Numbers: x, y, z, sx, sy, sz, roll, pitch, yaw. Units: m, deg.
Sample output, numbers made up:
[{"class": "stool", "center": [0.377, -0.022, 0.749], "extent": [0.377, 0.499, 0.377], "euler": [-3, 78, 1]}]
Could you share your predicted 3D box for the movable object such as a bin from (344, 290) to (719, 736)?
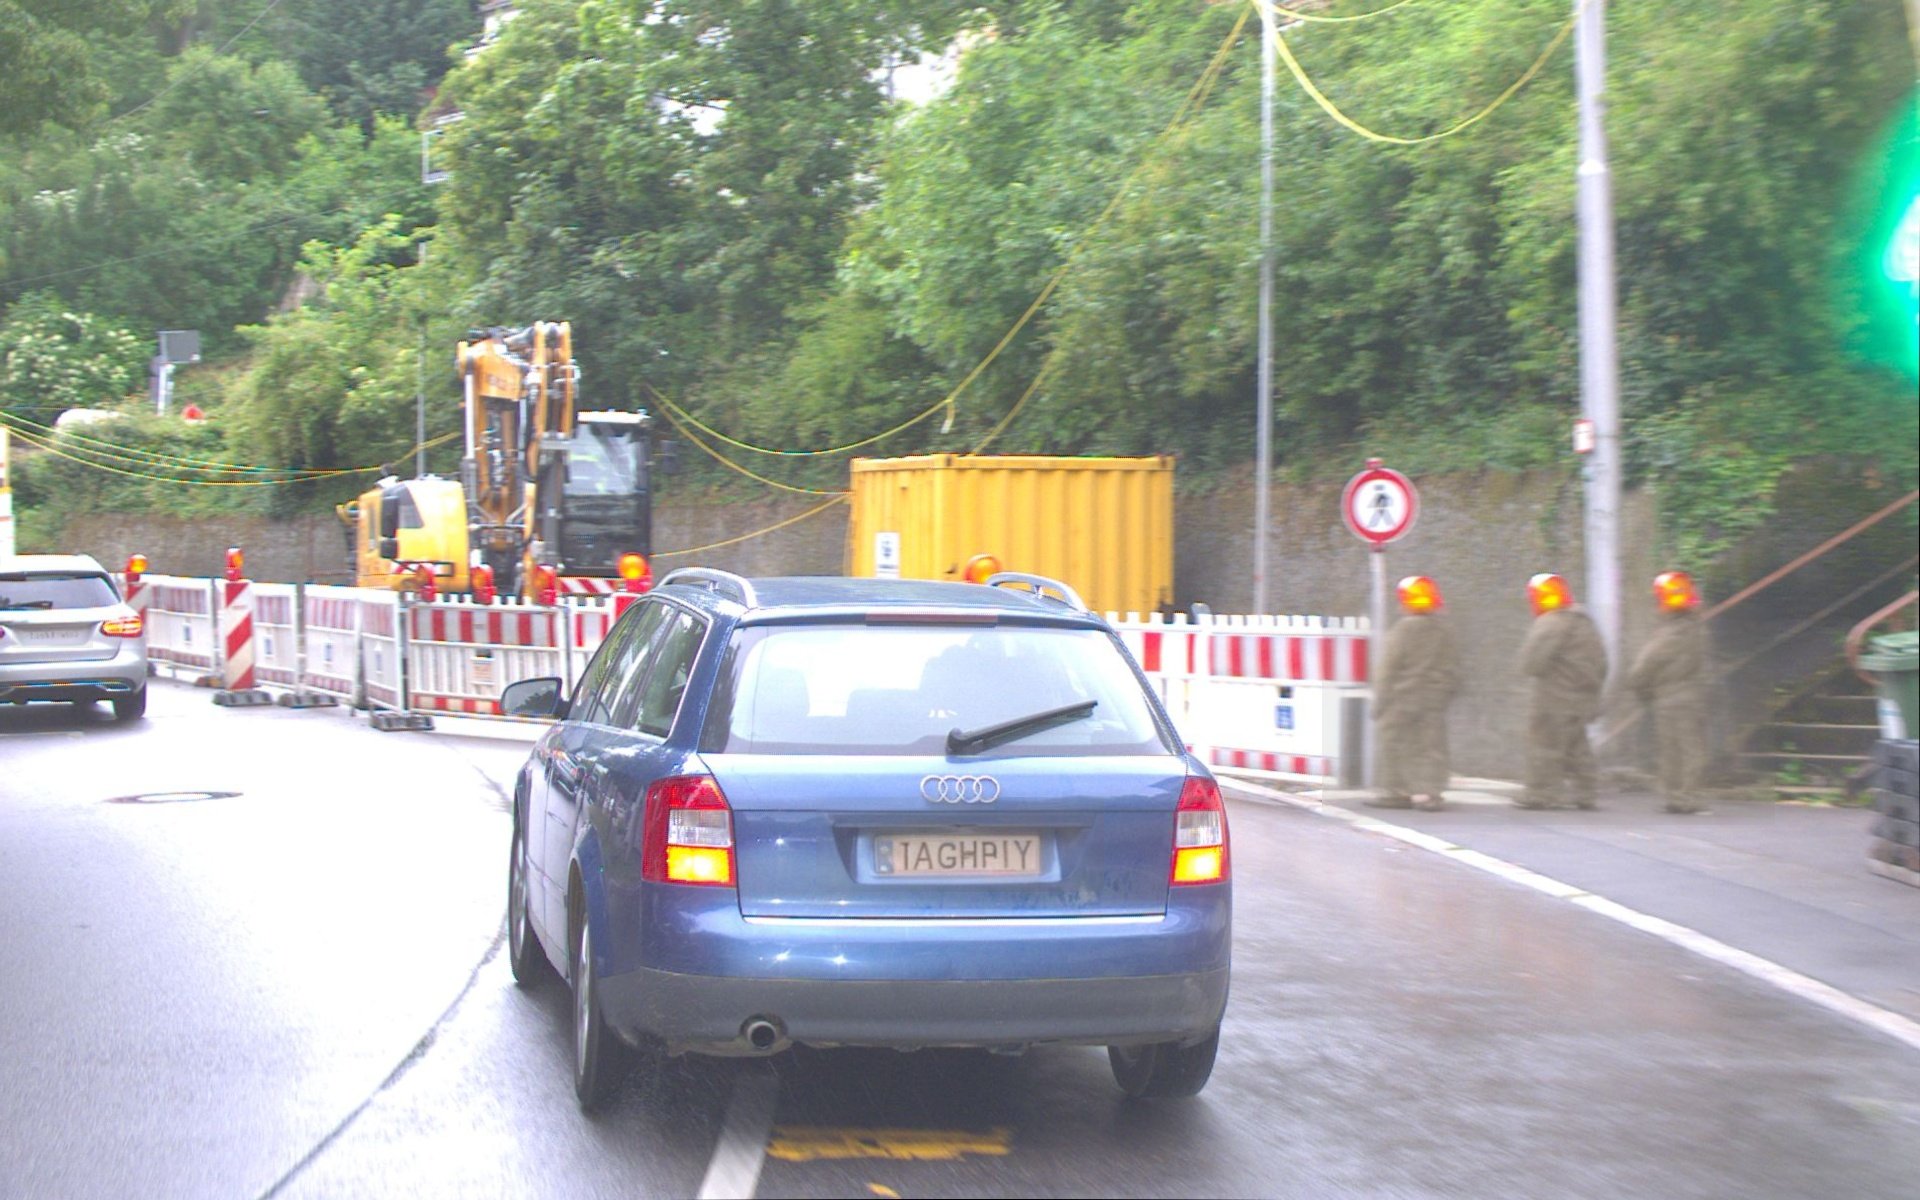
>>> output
[{"class": "movable object such as a bin", "center": [-4.501, -0.884, 34.738], "extent": [2.818, 4.000, 7.329], "euler": [-1, 2, -14]}]

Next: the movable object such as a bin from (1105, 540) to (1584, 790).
[{"class": "movable object such as a bin", "center": [2.518, 0.367, 23.603], "extent": [1.993, 1.514, 4.001], "euler": [0, 2, -14]}]

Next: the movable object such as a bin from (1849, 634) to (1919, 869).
[{"class": "movable object such as a bin", "center": [4.470, 0.675, 15.617], "extent": [0.719, 1.028, 0.592], "euler": [-1, 1, 3]}]

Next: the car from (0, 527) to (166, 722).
[{"class": "car", "center": [-8.458, 0.167, 30.899], "extent": [1.926, 1.612, 4.322], "euler": [-1, 2, -22]}]

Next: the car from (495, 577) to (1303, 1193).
[{"class": "car", "center": [-0.393, 0.667, 10.308], "extent": [1.785, 1.437, 3.965], "euler": [0, 1, -11]}]
